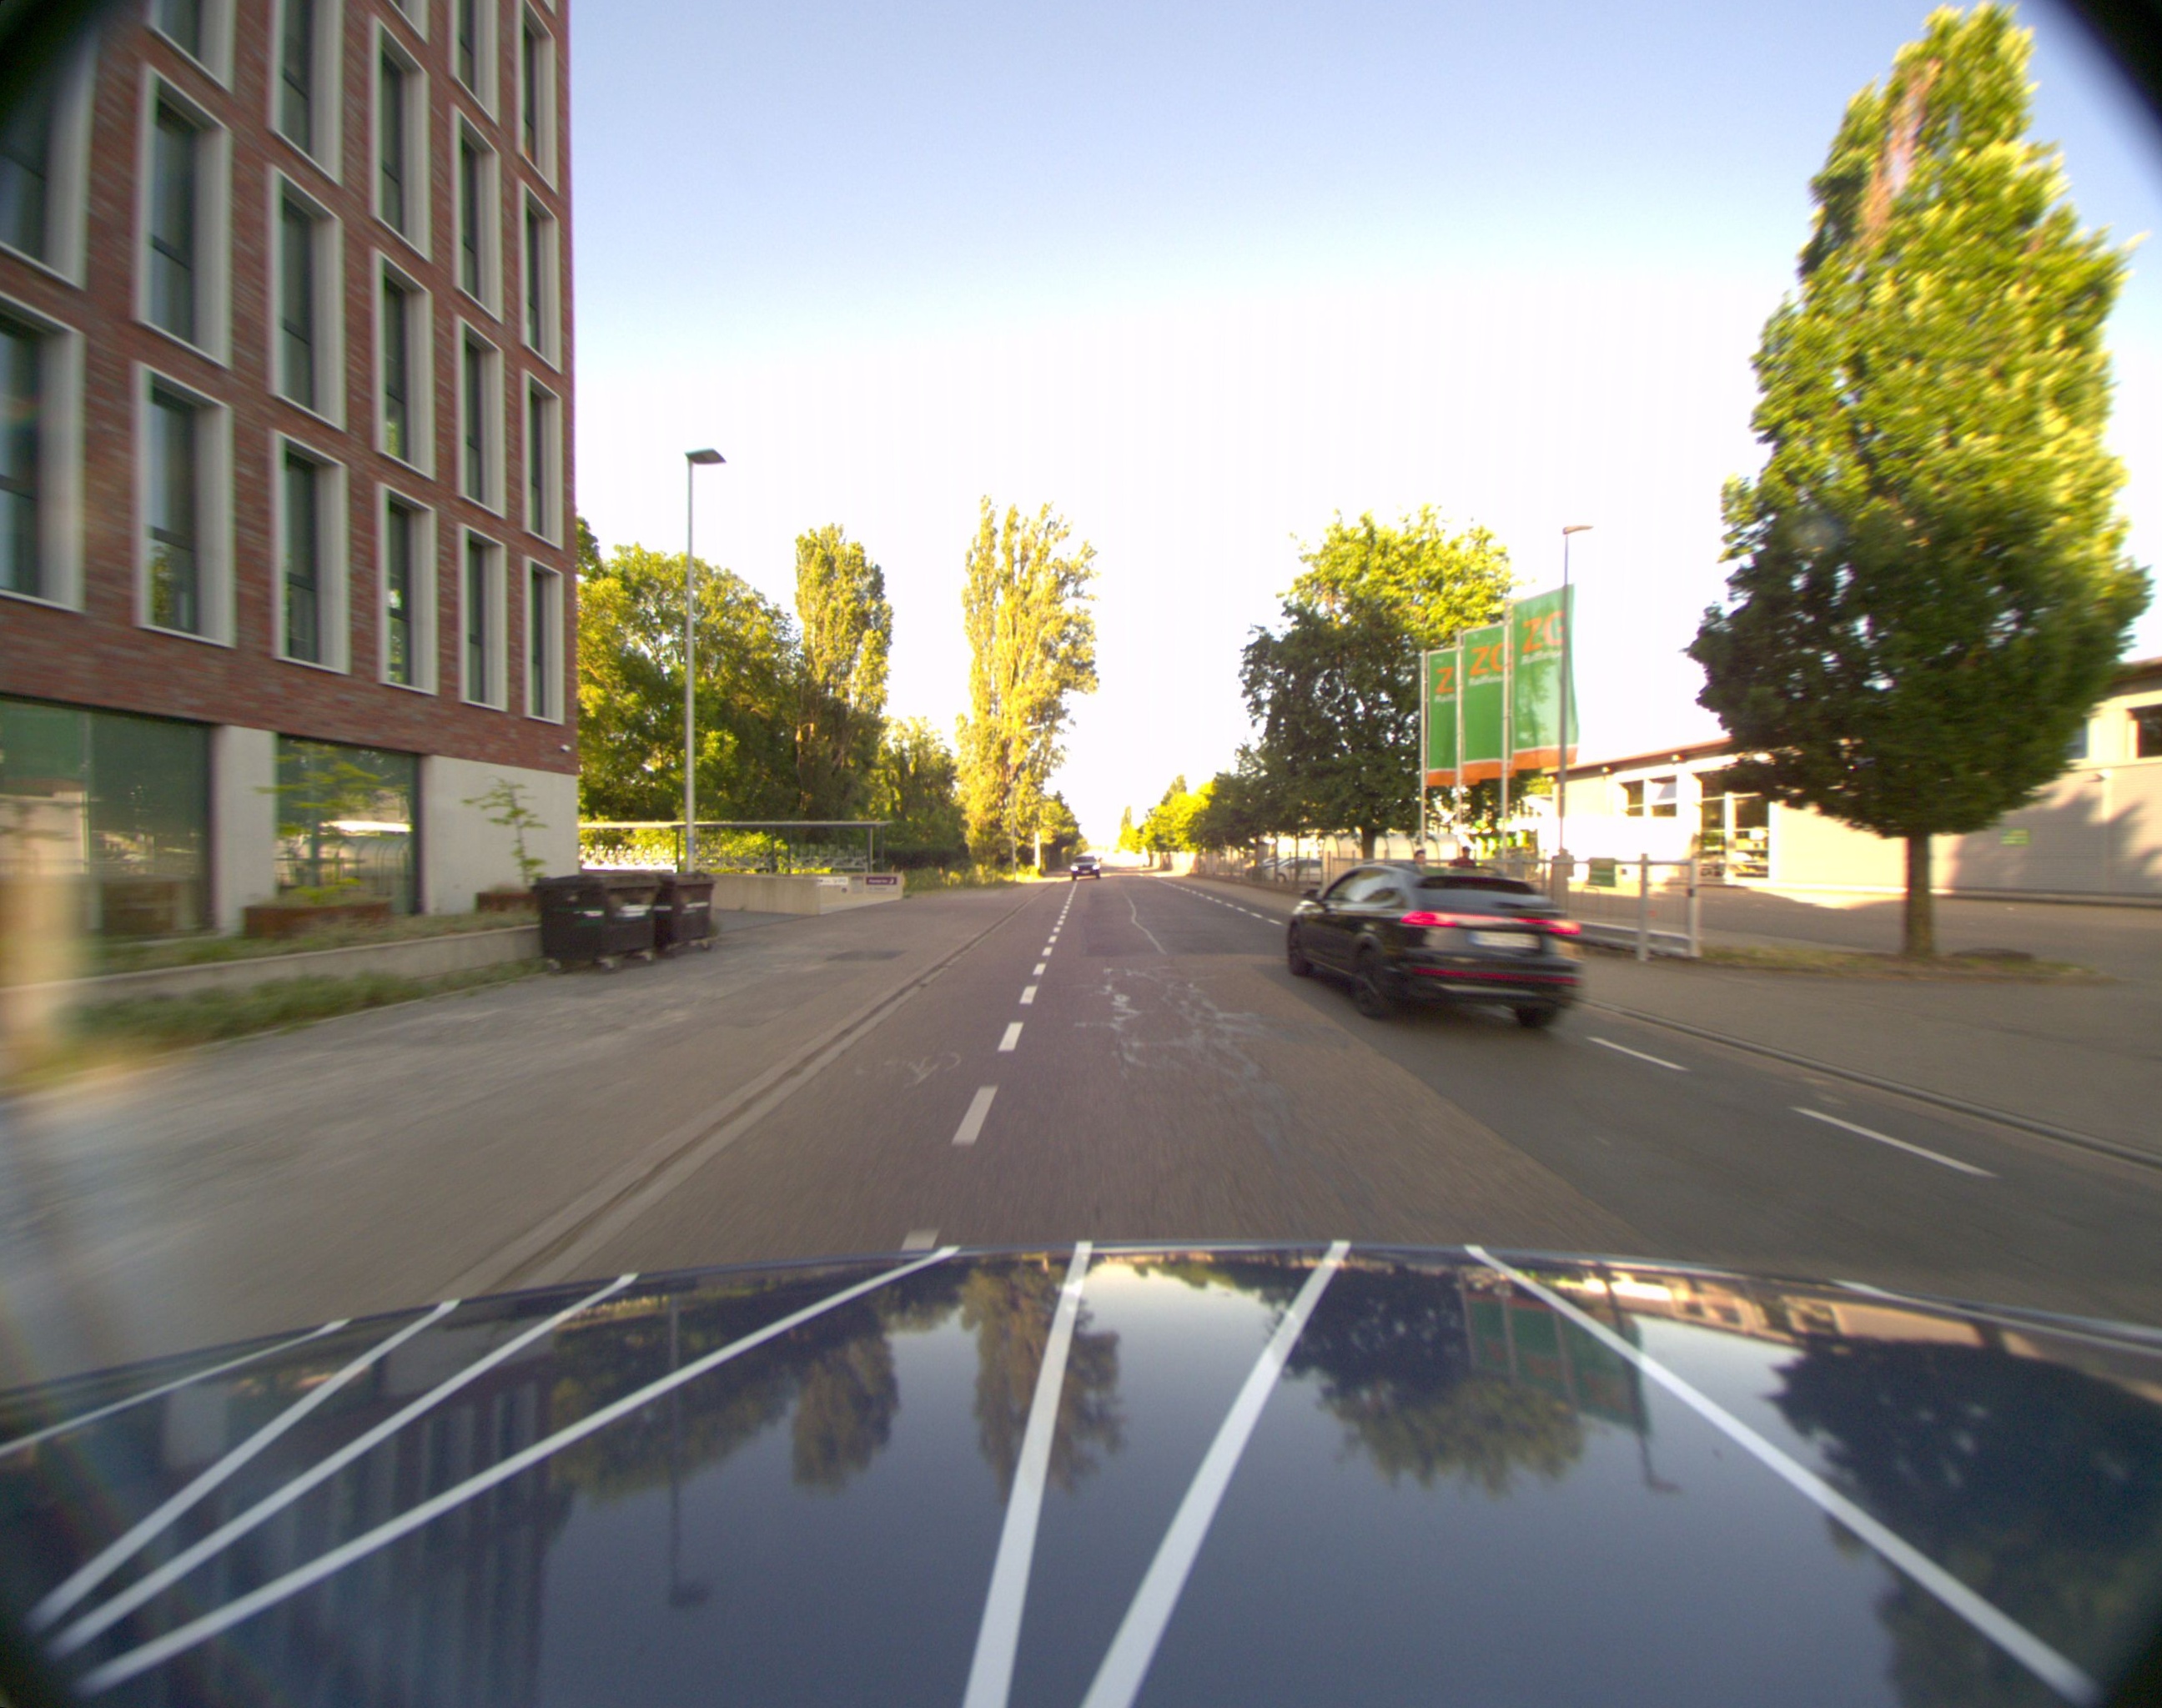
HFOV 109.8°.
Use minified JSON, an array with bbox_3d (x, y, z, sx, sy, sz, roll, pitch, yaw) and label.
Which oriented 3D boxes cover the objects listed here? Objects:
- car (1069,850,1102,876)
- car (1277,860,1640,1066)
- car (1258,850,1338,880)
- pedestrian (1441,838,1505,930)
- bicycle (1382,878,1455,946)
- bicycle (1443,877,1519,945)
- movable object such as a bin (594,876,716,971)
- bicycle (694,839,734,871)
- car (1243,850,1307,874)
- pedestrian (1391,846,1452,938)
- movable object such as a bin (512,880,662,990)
[{"bbox_3d":[0.356,0.581,52.957,1.998,1.608,4.000,-4,0,3],"label":"car"},{"bbox_3d":[3.516,0.877,8.060,1.745,1.517,4.111,3,0,0],"label":"car"},{"bbox_3d":[11.951,0.604,42.039,3.899,1.502,1.786,2,0,0],"label":"car"},{"bbox_3d":[7.627,0.565,14.821,0.722,1.711,1.057,0,1,1],"label":"pedestrian"},{"bbox_3d":[6.583,1.093,14.947,0.447,1.142,2.201,-2,0,1],"label":"bicycle"},{"bbox_3d":[7.663,1.059,14.637,0.471,1.142,1.869,-2,0,1],"label":"bicycle"},{"bbox_3d":[-6.579,1.040,11.842,1.131,1.364,1.345,0,0,0],"label":"movable object such as a bin"},{"bbox_3d":[-15.329,0.029,31.777,0.632,1.313,1.989,-1,1,1],"label":"bicycle"},{"bbox_3d":[12.833,0.545,50.397,3.736,1.442,1.805,2,0,-1],"label":"car"},{"bbox_3d":[6.592,0.709,14.772,0.722,1.711,1.057,0,1,1],"label":"pedestrian"},{"bbox_3d":[-6.598,1.049,10.252,1.131,1.328,1.345,0,0,0],"label":"movable object such as a bin"}]
